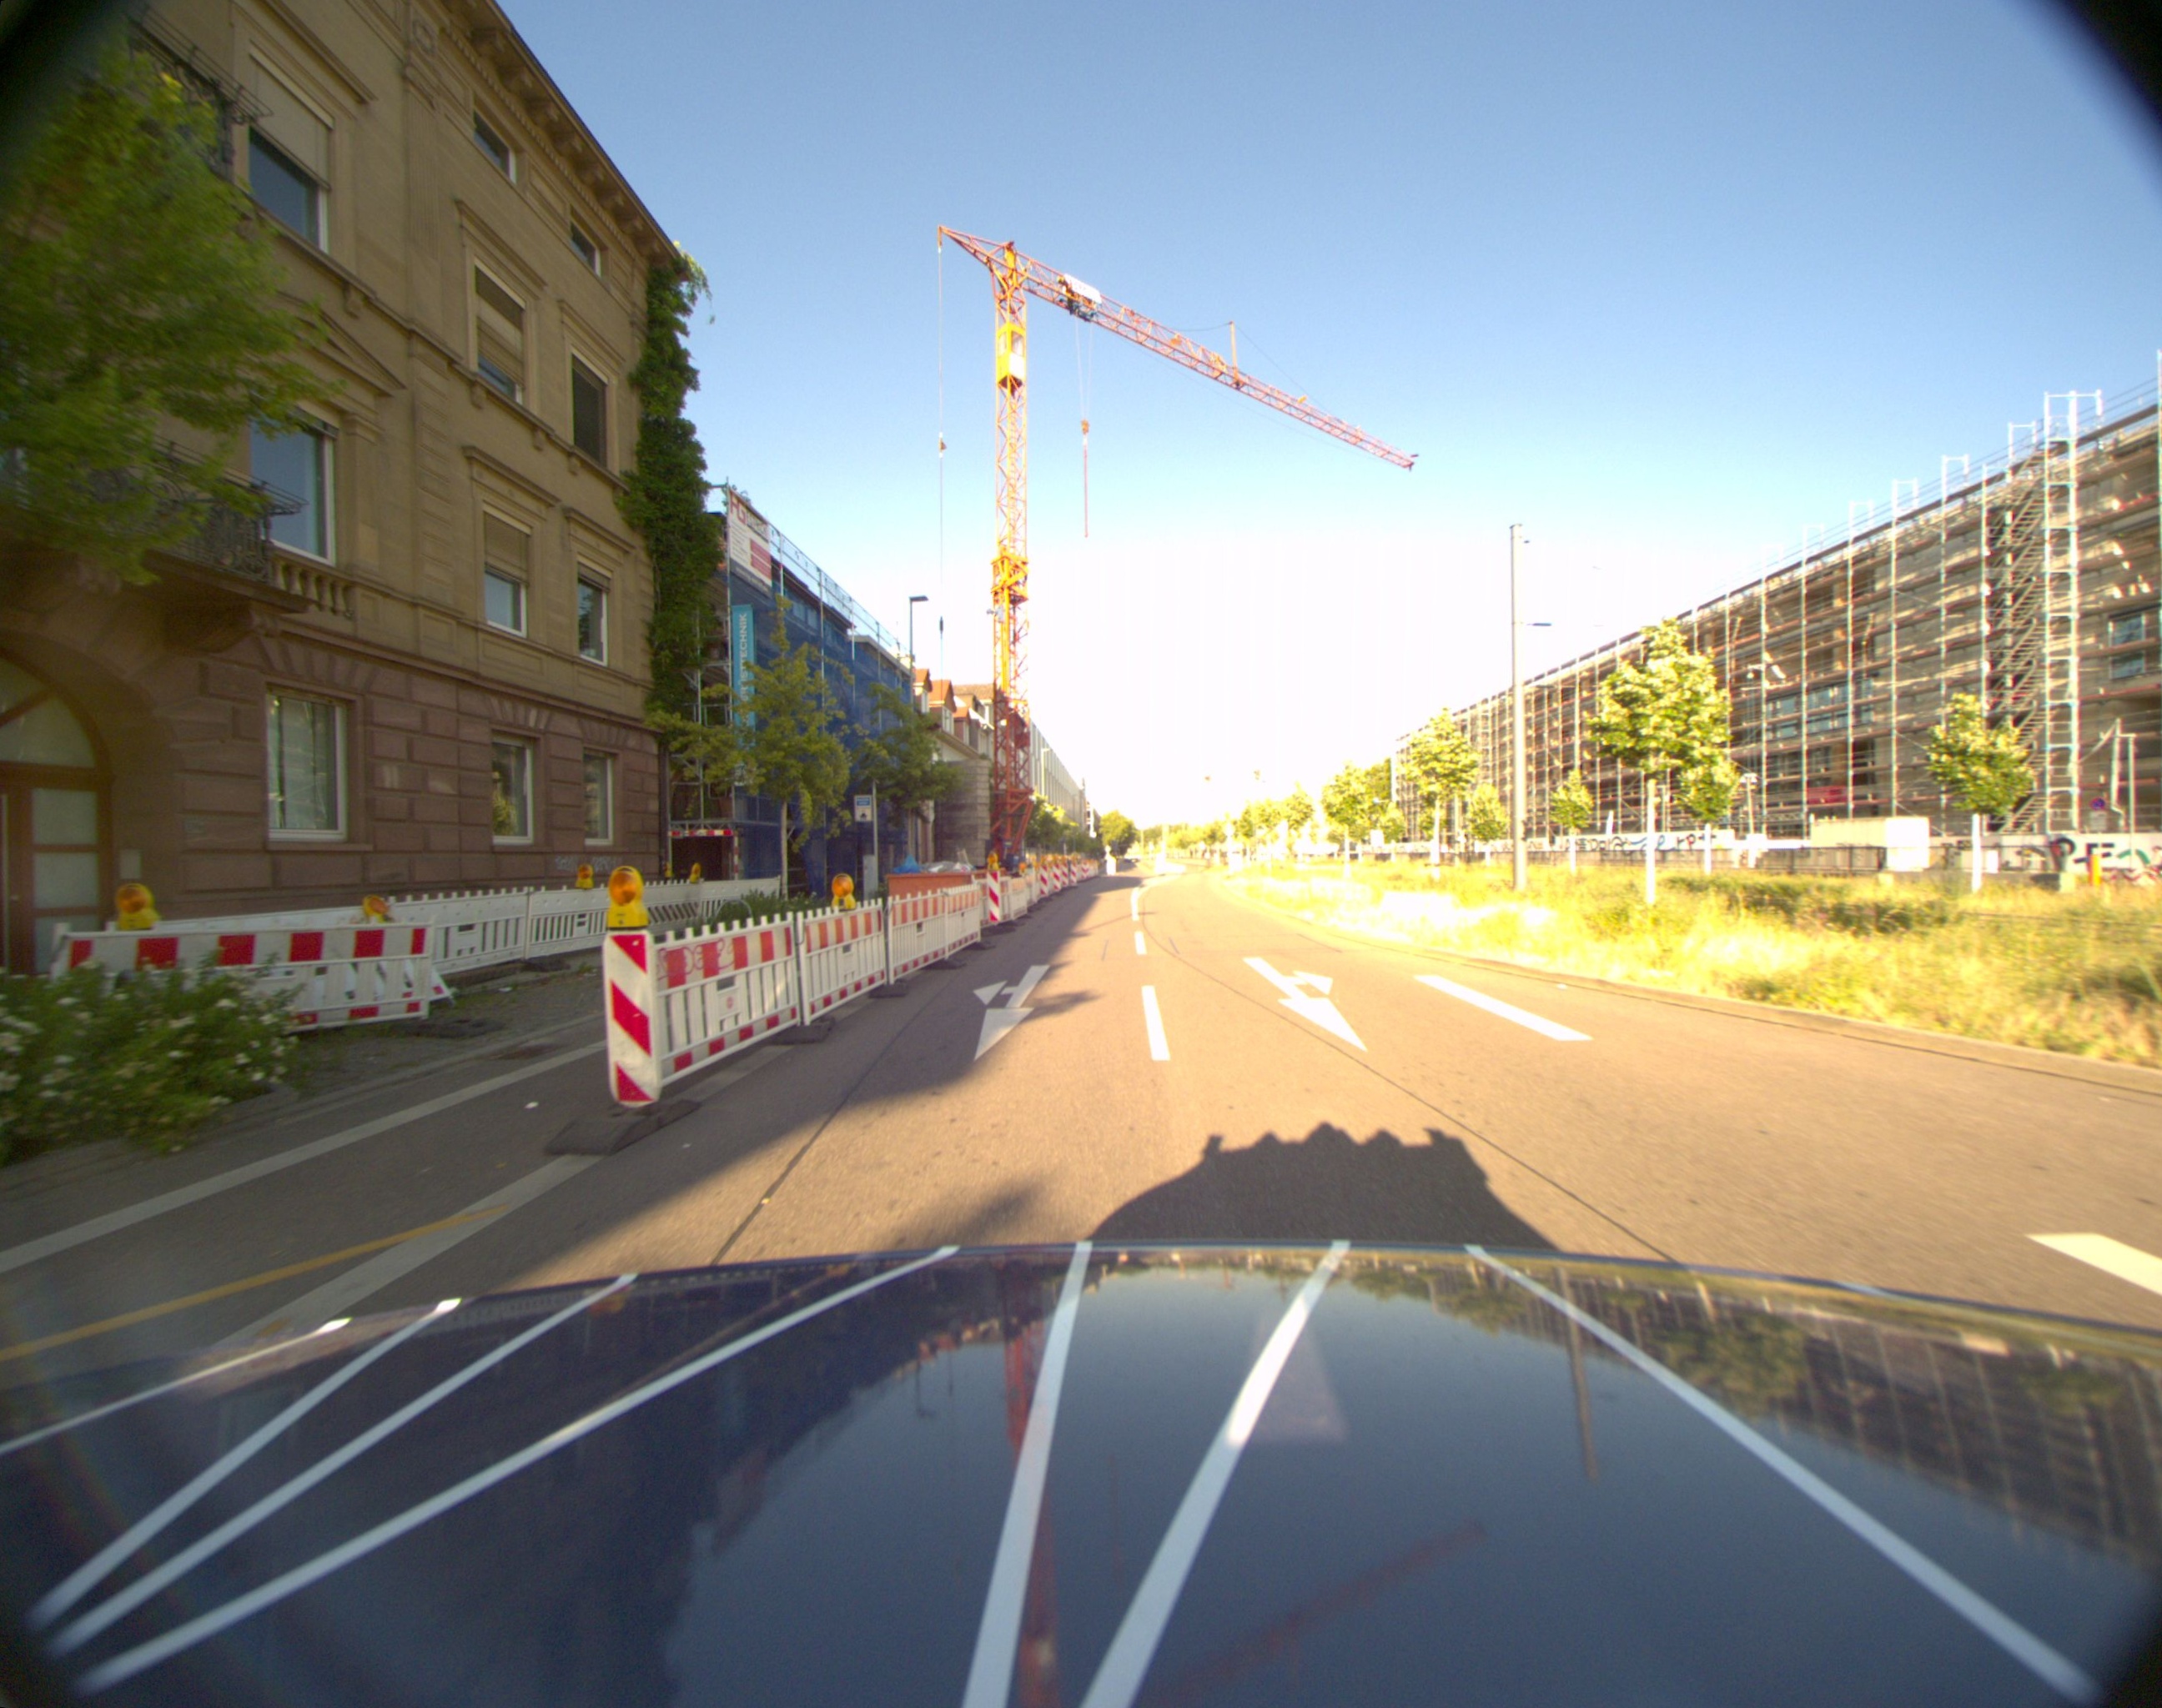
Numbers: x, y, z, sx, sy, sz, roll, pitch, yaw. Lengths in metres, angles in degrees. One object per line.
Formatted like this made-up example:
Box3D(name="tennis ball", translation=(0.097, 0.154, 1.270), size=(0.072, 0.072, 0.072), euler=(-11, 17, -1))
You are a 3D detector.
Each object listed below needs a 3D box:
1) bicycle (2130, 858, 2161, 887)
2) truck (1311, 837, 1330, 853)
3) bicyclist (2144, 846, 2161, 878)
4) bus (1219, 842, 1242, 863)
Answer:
Box3D(name="bicycle", translation=(39.140, 0.664, 27.419), size=(0.479, 1.055, 1.564), euler=(-1, 0, 4))
Box3D(name="truck", translation=(40.851, -1.492, 129.871), size=(2.142, 2.559, 4.741), euler=(-1, 0, 5))
Box3D(name="bicyclist", translation=(39.135, 0.276, 27.474), size=(0.479, 1.147, 0.638), euler=(-1, 1, 4))
Box3D(name="bus", translation=(23.372, -0.228, 119.015), size=(2.722, 3.203, 8.659), euler=(-1, 0, 6))
